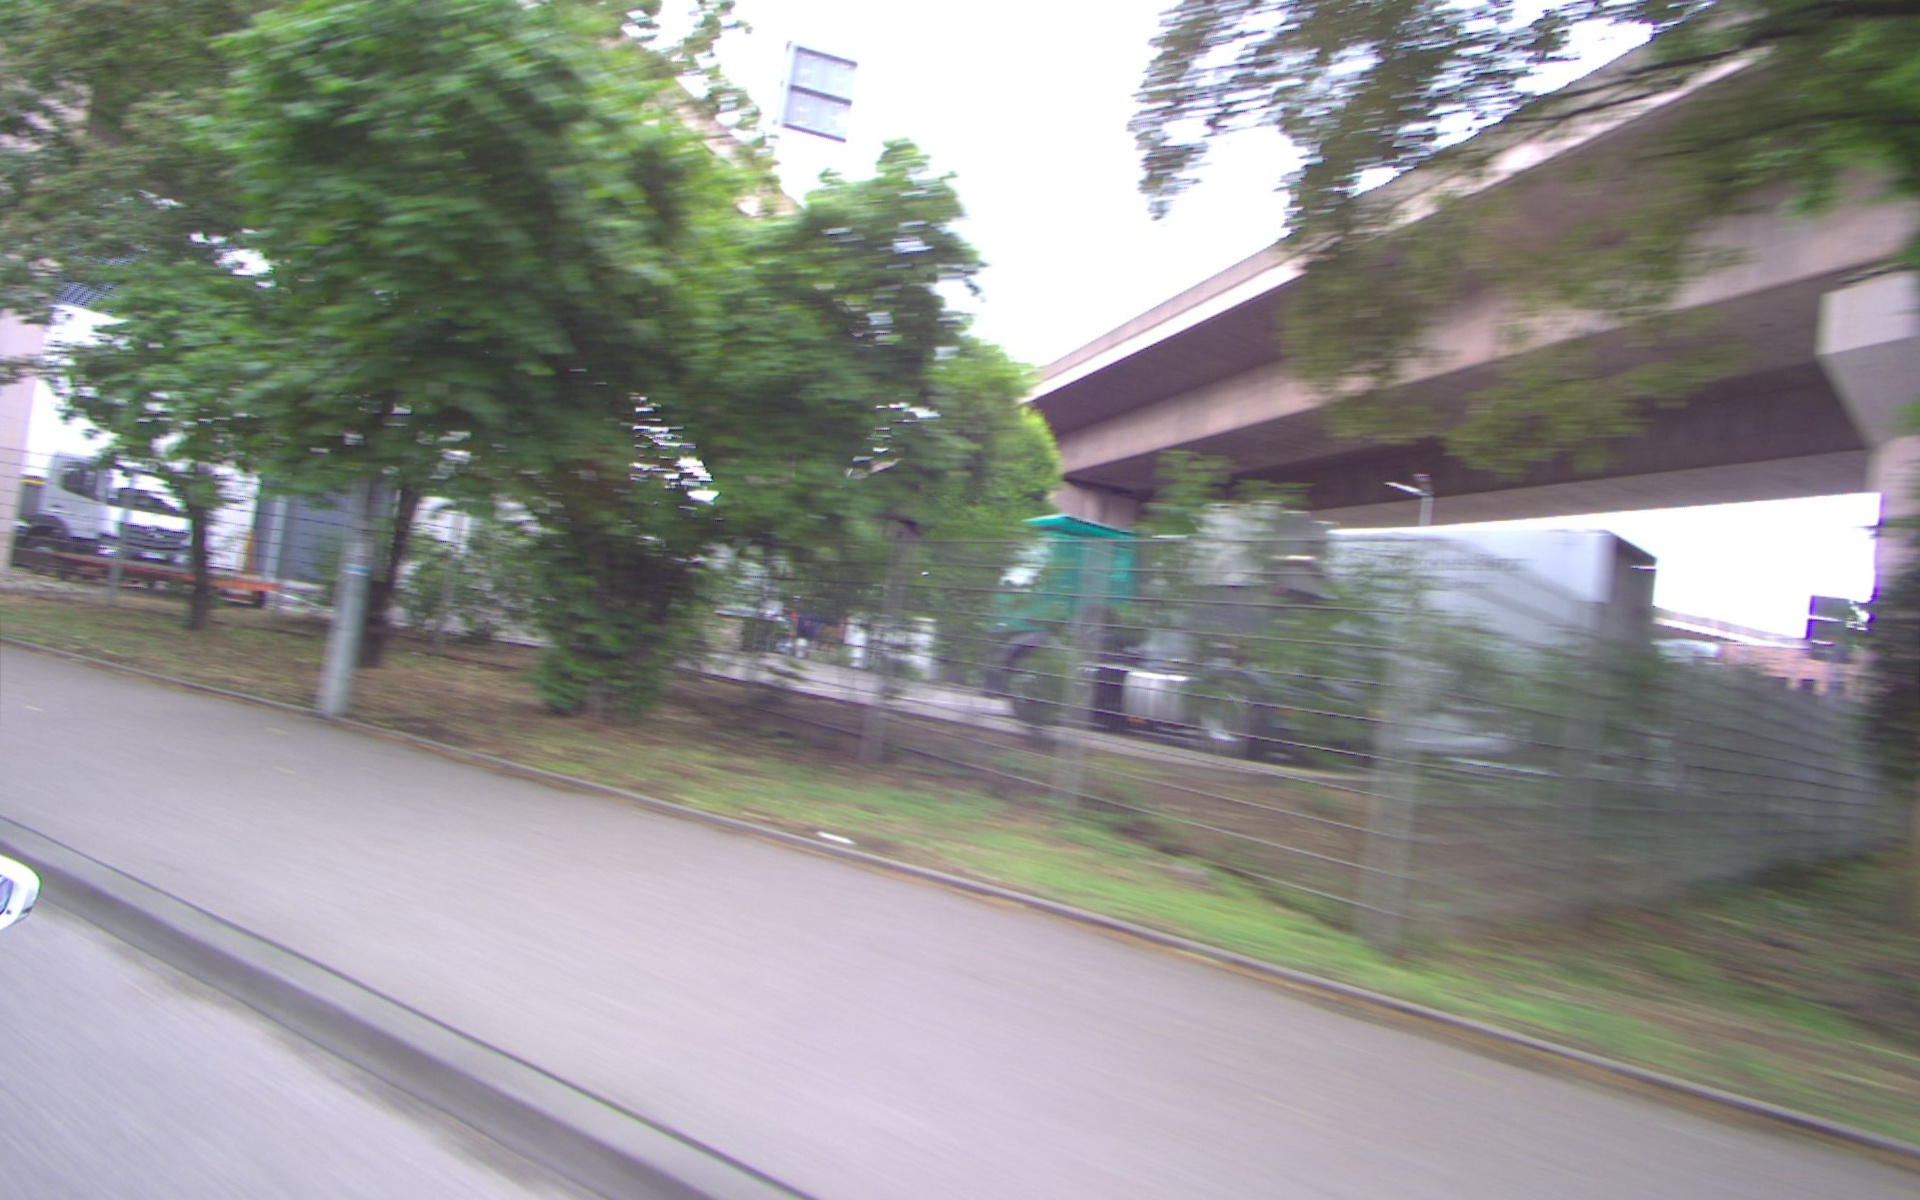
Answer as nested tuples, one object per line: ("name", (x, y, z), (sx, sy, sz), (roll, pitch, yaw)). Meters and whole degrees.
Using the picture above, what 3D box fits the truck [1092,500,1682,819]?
("truck", (6.320, 0.641, 16.311), (3.053, 3.914, 7.958), (8, -1, -40))

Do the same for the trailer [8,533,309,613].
("trailer", (-14.270, -0.509, 17.782), (6.189, 0.752, 2.151), (6, 0, 31))

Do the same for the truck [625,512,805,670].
("truck", (-9.072, -0.441, 36.386), (3.185, 4.837, 7.972), (7, -1, -35))

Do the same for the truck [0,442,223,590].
("truck", (-20.908, -2.028, 22.263), (7.094, 2.581, 2.728), (7, -2, 4))

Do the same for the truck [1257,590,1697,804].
("truck", (9.349, 1.628, 18.850), (2.904, 2.933, 6.485), (8, -1, -40))

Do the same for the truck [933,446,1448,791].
("truck", (3.053, 0.181, 15.279), (3.051, 4.010, 6.851), (8, -1, -38))

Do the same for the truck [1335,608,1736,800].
("truck", (11.785, 2.017, 21.133), (2.904, 2.933, 6.485), (8, -1, -40))
